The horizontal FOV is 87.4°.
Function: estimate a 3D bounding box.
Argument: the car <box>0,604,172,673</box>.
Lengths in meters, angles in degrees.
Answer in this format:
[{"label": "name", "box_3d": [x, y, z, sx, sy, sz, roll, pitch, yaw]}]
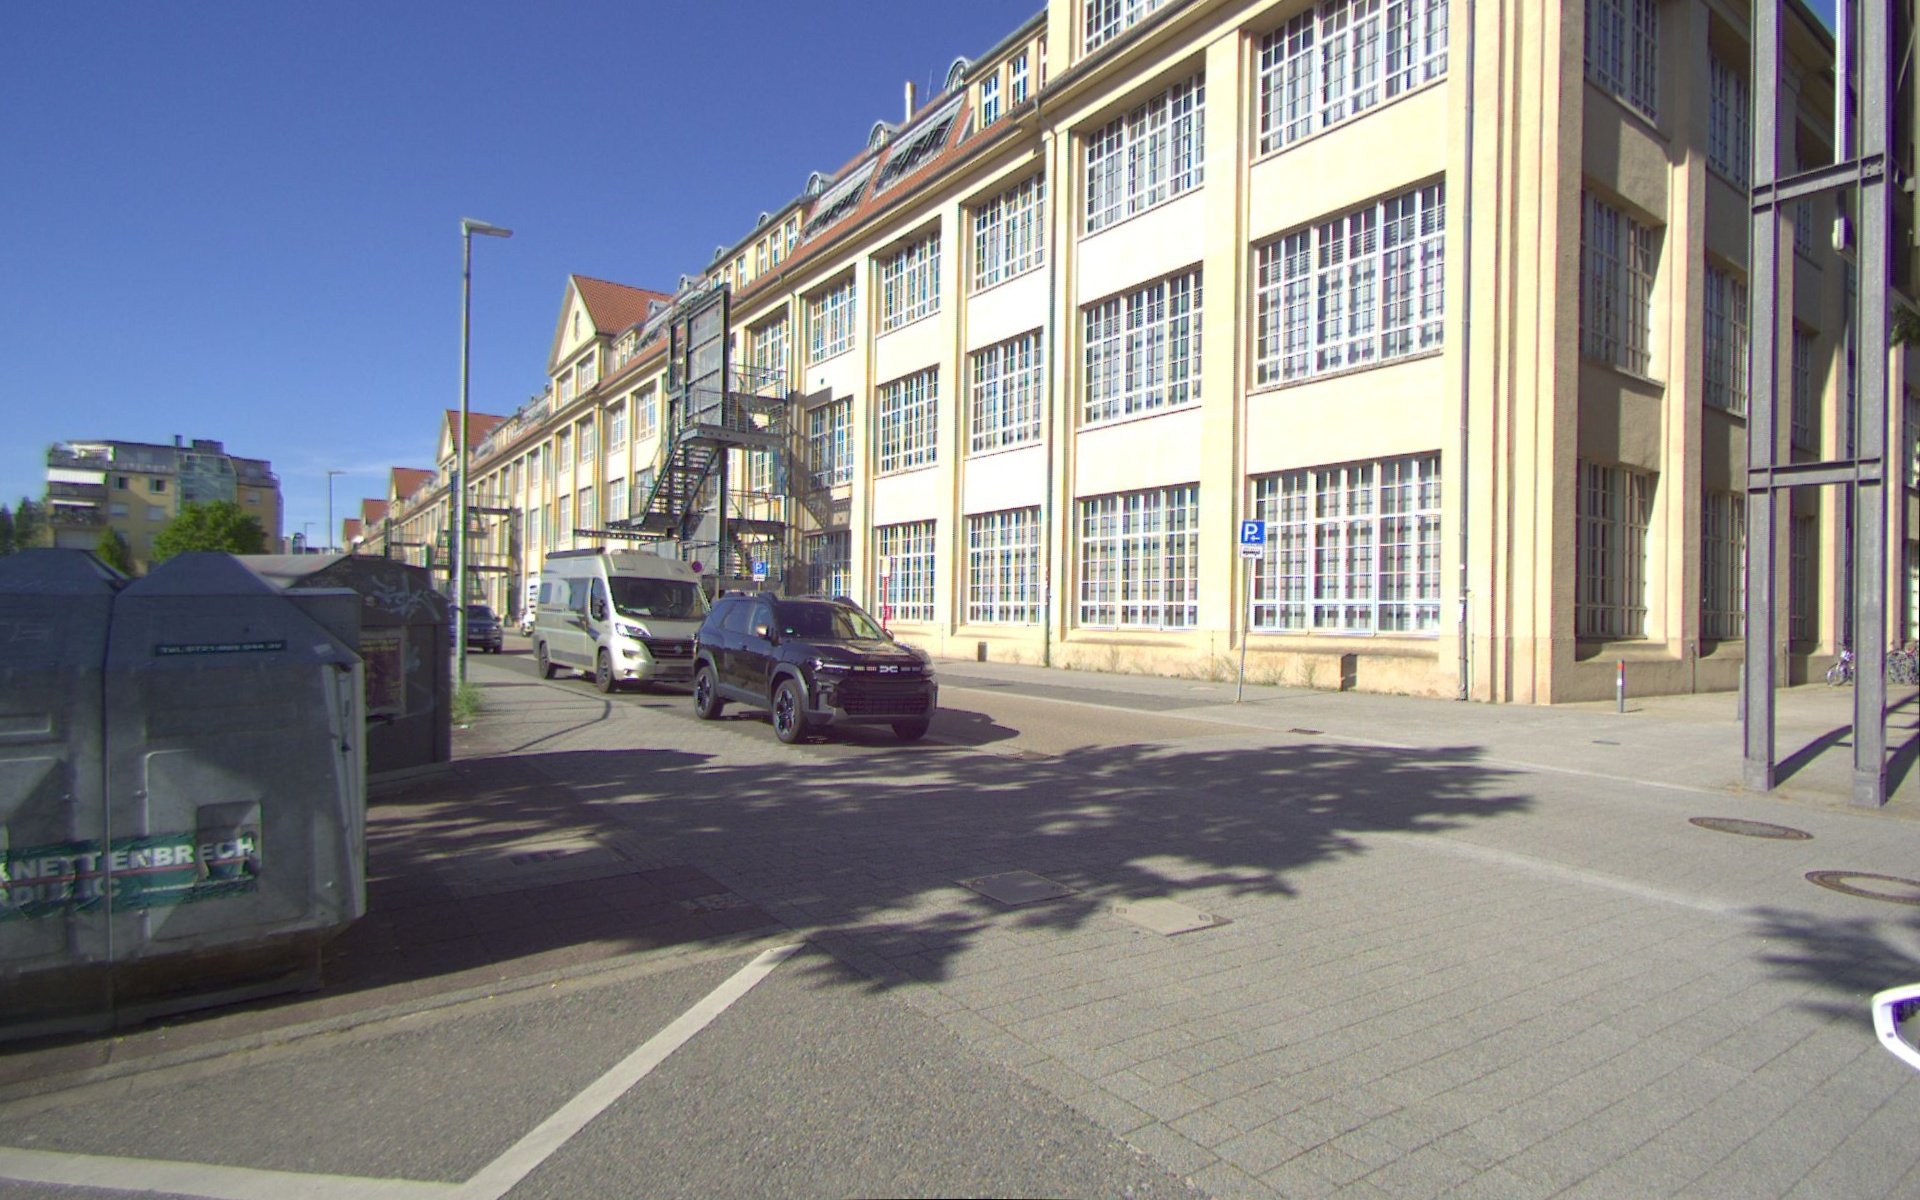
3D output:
[{"label": "car", "box_3d": [-21.853, 0.896, 24.287, 4.197, 1.580, 1.881, 1, -1, -33]}]

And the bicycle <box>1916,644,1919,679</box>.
[{"label": "bicycle", "box_3d": [33.447, 2.078, 33.114, 0.712, 1.166, 2.709, 1, -1, -39]}]

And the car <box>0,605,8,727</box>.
[{"label": "car", "box_3d": [-14.263, 0.841, 11.611, 4.378, 1.631, 1.982, 1, -1, -33]}]

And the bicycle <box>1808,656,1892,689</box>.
[{"label": "bicycle", "box_3d": [24.198, 1.955, 27.295, 2.847, 0.803, 0.775, 1, -1, -28]}]

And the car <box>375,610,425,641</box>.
[{"label": "car", "box_3d": [-28.278, 1.251, 50.637, 1.833, 1.444, 4.184, 2, -1, -34]}]

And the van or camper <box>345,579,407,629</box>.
[{"label": "van or camper", "box_3d": [-35.560, 0.244, 61.120, 2.698, 2.895, 5.082, 2, -1, -36]}]

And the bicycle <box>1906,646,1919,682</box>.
[{"label": "bicycle", "box_3d": [30.711, 2.003, 30.528, 0.712, 1.077, 2.778, 1, -1, -39]}]

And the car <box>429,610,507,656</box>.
[{"label": "car", "box_3d": [-16.851, 1.067, 34.323, 1.832, 1.444, 4.184, 0, 0, -34]}]

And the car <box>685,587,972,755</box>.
[{"label": "car", "box_3d": [-1.806, 0.767, 12.570, 1.979, 1.718, 4.066, 2, -1, -33]}]

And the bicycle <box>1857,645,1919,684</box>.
[{"label": "bicycle", "box_3d": [28.058, 1.890, 29.252, 0.711, 1.077, 2.782, 1, -1, -34]}]

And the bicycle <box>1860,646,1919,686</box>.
[{"label": "bicycle", "box_3d": [26.935, 1.861, 27.910, 0.712, 1.077, 2.778, 1, -1, -39]}]

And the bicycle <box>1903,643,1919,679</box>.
[{"label": "bicycle", "box_3d": [32.294, 2.000, 32.318, 0.712, 1.166, 2.778, 1, -1, -39]}]

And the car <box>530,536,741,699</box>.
[{"label": "car", "box_3d": [-6.487, 0.343, 19.436, 2.143, 2.631, 6.224, 3, -2, -34]}]
